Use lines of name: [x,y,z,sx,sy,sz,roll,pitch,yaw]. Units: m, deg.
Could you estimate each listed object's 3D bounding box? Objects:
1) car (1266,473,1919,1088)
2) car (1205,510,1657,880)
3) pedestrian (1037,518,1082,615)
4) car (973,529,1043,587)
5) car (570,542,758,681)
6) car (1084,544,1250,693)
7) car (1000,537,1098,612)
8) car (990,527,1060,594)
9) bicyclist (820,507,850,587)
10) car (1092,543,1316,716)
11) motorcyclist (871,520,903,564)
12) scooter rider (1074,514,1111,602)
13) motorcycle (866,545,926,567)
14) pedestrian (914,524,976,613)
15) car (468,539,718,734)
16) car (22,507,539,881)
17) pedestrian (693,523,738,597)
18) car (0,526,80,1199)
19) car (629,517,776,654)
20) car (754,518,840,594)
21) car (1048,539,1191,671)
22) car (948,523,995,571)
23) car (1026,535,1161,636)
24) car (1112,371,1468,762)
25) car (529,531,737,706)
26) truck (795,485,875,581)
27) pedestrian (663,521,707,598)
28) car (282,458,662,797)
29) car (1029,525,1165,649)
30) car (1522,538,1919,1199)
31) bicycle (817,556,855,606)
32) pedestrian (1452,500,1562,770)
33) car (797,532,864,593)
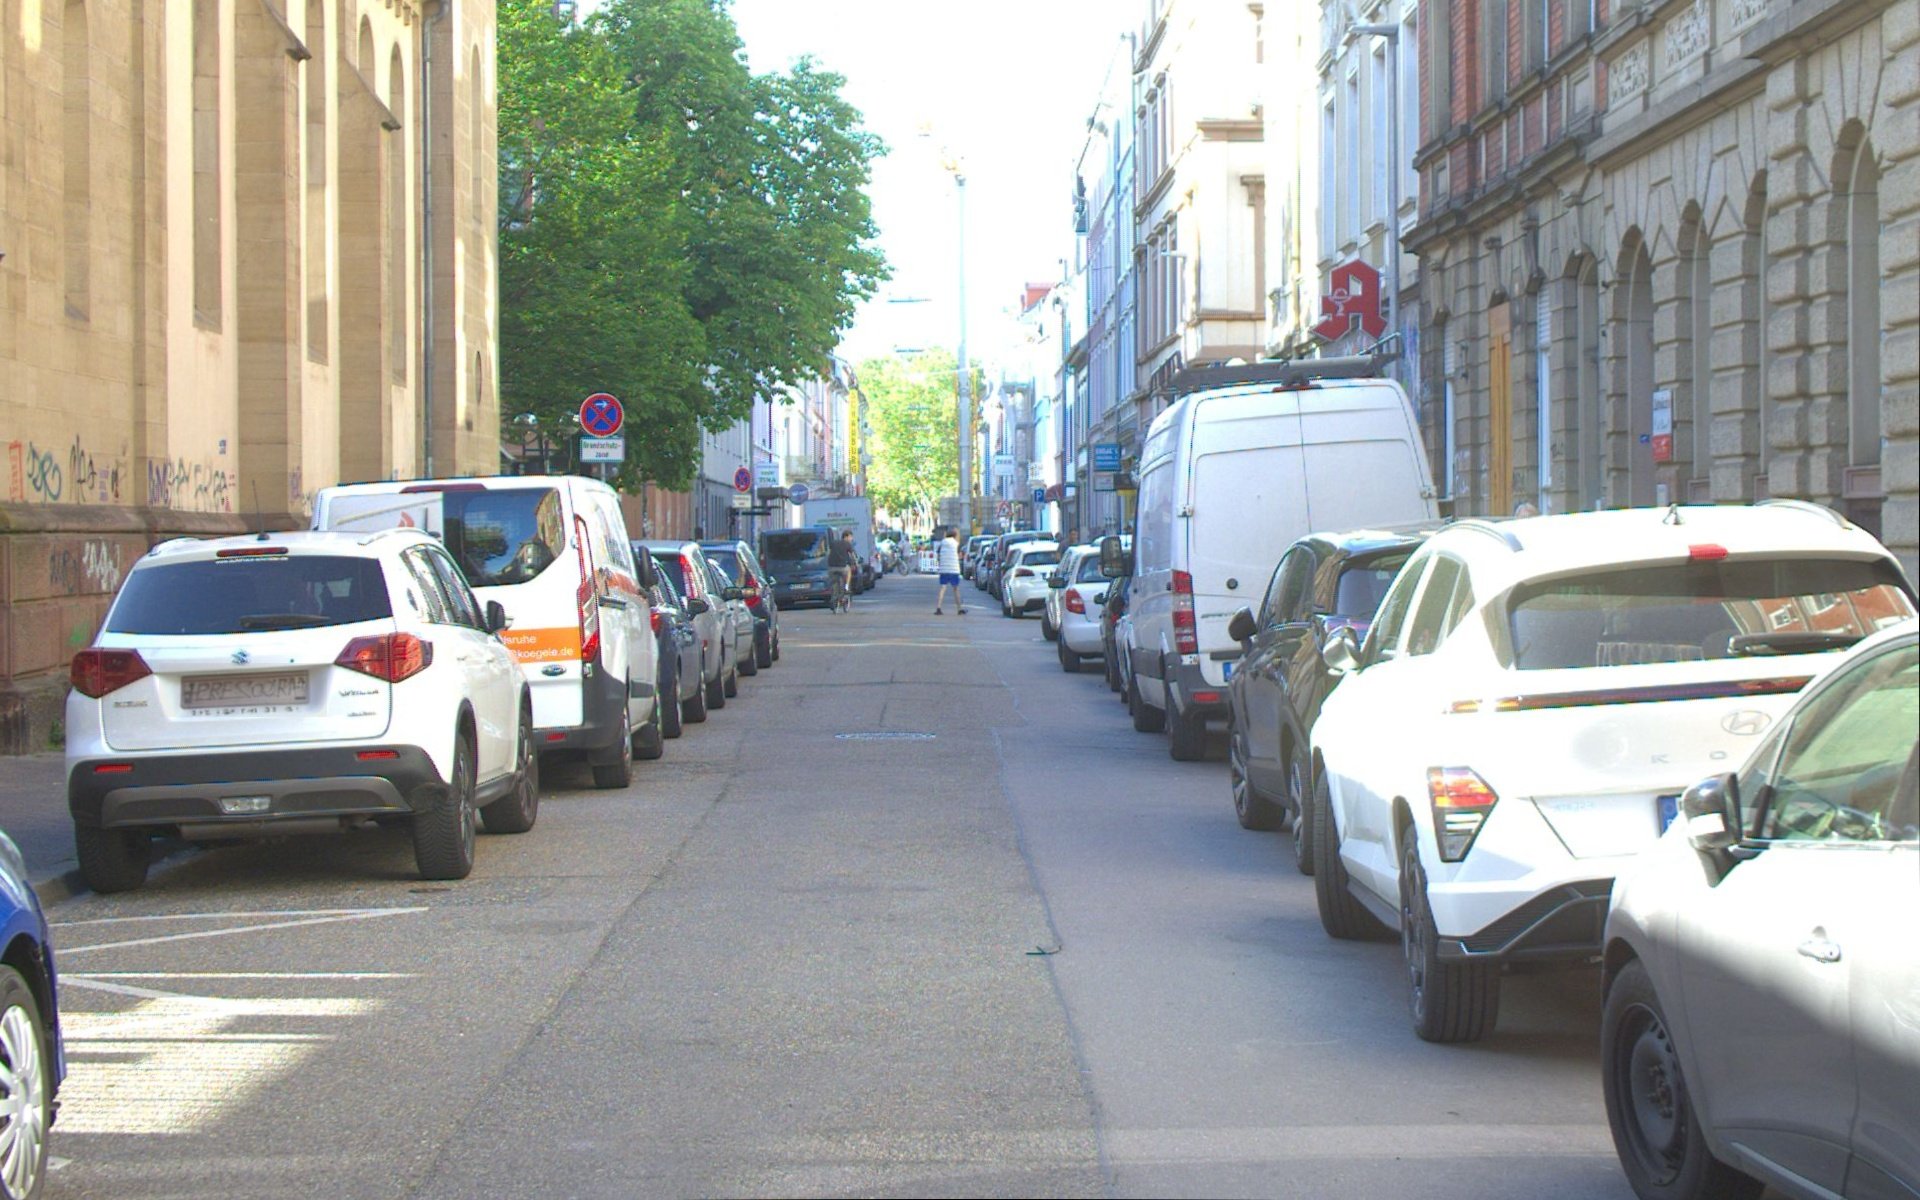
car: [2.171,0.496,11.847,1.808,1.684,4.214,2,1,0]
car: [2.242,0.387,17.303,1.687,1.637,3.925,1,1,0]
pedestrian: [1.897,-0.651,65.739,0.681,1.837,0.695,1,1,-12]
car: [1.452,-1.285,104.716,1.993,1.626,4.000,3,1,0]
car: [-3.263,0.096,38.495,1.570,1.393,3.808,-3,1,2]
car: [2.216,0.161,37.551,1.570,1.490,3.653,2,1,0]
car: [1.797,-0.548,70.727,1.897,1.483,3.869,0,1,0]
car: [1.713,-1.072,91.284,1.769,1.735,4.000,0,1,0]
bicyclist: [-2.645,-1.118,72.817,0.605,1.682,0.885,0,1,0]
car: [2.272,0.229,33.040,1.779,1.481,4.360,2,1,0]
motorcyclist: [-3.363,-2.663,158.368,1.189,2.007,0.903,1,1,43]
scooter rider: [2.503,-0.794,64.935,0.650,1.637,0.683,0,1,6]
motorcycle: [-2.948,-2.017,157.927,2.823,0.977,1.043,1,1,43]
pedestrian: [-0.311,-0.652,71.462,1.008,1.837,0.785,0,1,-32]
car: [-2.938,0.242,28.202,1.615,1.447,3.950,-1,1,0]
car: [-3.149,0.368,16.667,1.742,1.581,3.869,1,1,0]
pedestrian: [-5.426,-0.895,76.453,0.929,1.631,0.806,0,1,1]
car: [-2.885,0.626,6.060,1.687,1.471,3.860,-1,1,-1]
car: [-3.226,-0.208,43.656,1.600,1.608,3.808,-2,1,-1]
car: [-3.885,-1.072,82.693,1.875,1.790,4.000,0,1,0]
car: [1.927,0.023,42.425,1.604,1.499,4.000,2,1,1]
car: [0.475,-2.295,147.604,1.993,2.007,4.000,0,1,0]
car: [2.012,-0.243,52.812,1.716,1.483,3.870,0,1,-3]
car: [2.356,-0.289,26.140,2.068,2.602,5.888,1,1,0]
car: [-3.058,0.128,32.834,1.673,1.553,4.000,-1,1,-1]
truck: [-4.361,-2.360,121.137,2.532,3.270,6.995,0,1,0]
pedestrian: [-6.380,-0.938,79.756,0.929,1.780,0.806,0,1,1]
car: [-3.069,0.119,22.524,1.864,1.950,4.610,-1,1,-1]
car: [1.861,-0.208,47.769,1.716,1.640,4.000,0,1,0]
car: [2.349,0.680,6.567,1.572,1.520,3.909,3,1,-4]
bicycle: [-2.629,-0.414,72.841,0.739,1.040,1.859,0,1,0]
pedestrian: [3.677,0.229,23.092,0.640,1.766,0.678,2,1,11]
car: [-3.921,-1.161,104.574,1.875,1.790,4.000,0,1,0]
